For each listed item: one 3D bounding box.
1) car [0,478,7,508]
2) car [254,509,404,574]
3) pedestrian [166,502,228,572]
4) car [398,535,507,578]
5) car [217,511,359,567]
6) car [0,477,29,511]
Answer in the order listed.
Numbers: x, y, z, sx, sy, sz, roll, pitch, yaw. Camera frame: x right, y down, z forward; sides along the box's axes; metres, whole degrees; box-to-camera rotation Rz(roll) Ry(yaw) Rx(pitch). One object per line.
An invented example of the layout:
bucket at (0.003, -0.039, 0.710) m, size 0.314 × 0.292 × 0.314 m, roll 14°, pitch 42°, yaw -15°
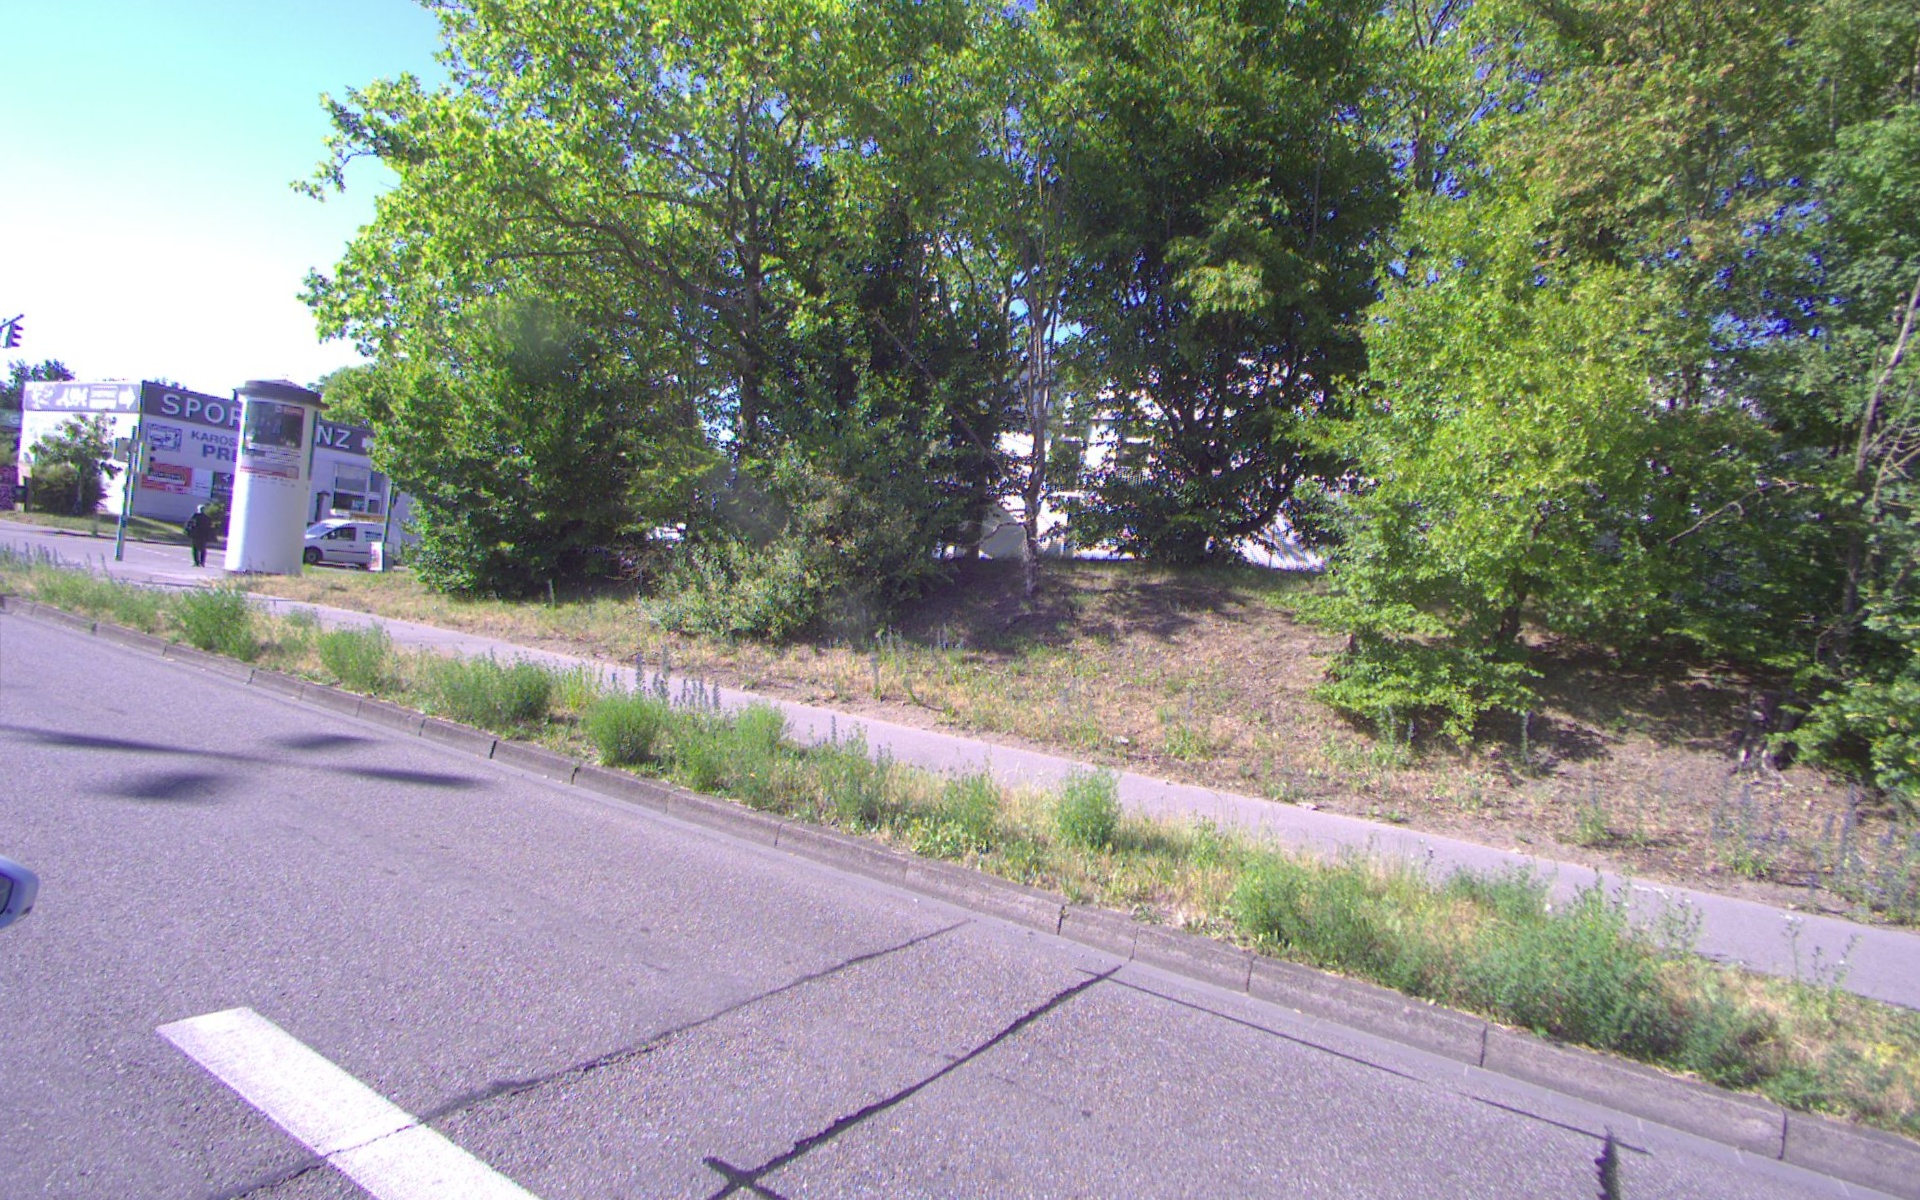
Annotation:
car at (-49.249, -5.493, 48.478) m, size 1.828 × 1.472 × 4.490 m, roll 7°, pitch 1°, yaw 33°
car at (-23.853, -2.187, 38.205) m, size 1.735 × 1.824 × 4.387 m, roll 9°, pitch 1°, yaw 30°
pedestrian at (-21.237, -1.751, 28.009) m, size 0.923 × 1.755 × 0.927 m, roll 6°, pitch -1°, yaw 31°
car at (-23.118, -1.952, 45.951) m, size 1.752 × 1.509 × 4.046 m, roll 7°, pitch 1°, yaw 30°
car at (-26.630, -2.379, 40.027) m, size 1.735 × 1.568 × 4.292 m, roll 9°, pitch 1°, yaw 30°
car at (-46.898, -5.226, 47.108) m, size 1.828 × 1.472 × 4.490 m, roll 7°, pitch 1°, yaw 33°
